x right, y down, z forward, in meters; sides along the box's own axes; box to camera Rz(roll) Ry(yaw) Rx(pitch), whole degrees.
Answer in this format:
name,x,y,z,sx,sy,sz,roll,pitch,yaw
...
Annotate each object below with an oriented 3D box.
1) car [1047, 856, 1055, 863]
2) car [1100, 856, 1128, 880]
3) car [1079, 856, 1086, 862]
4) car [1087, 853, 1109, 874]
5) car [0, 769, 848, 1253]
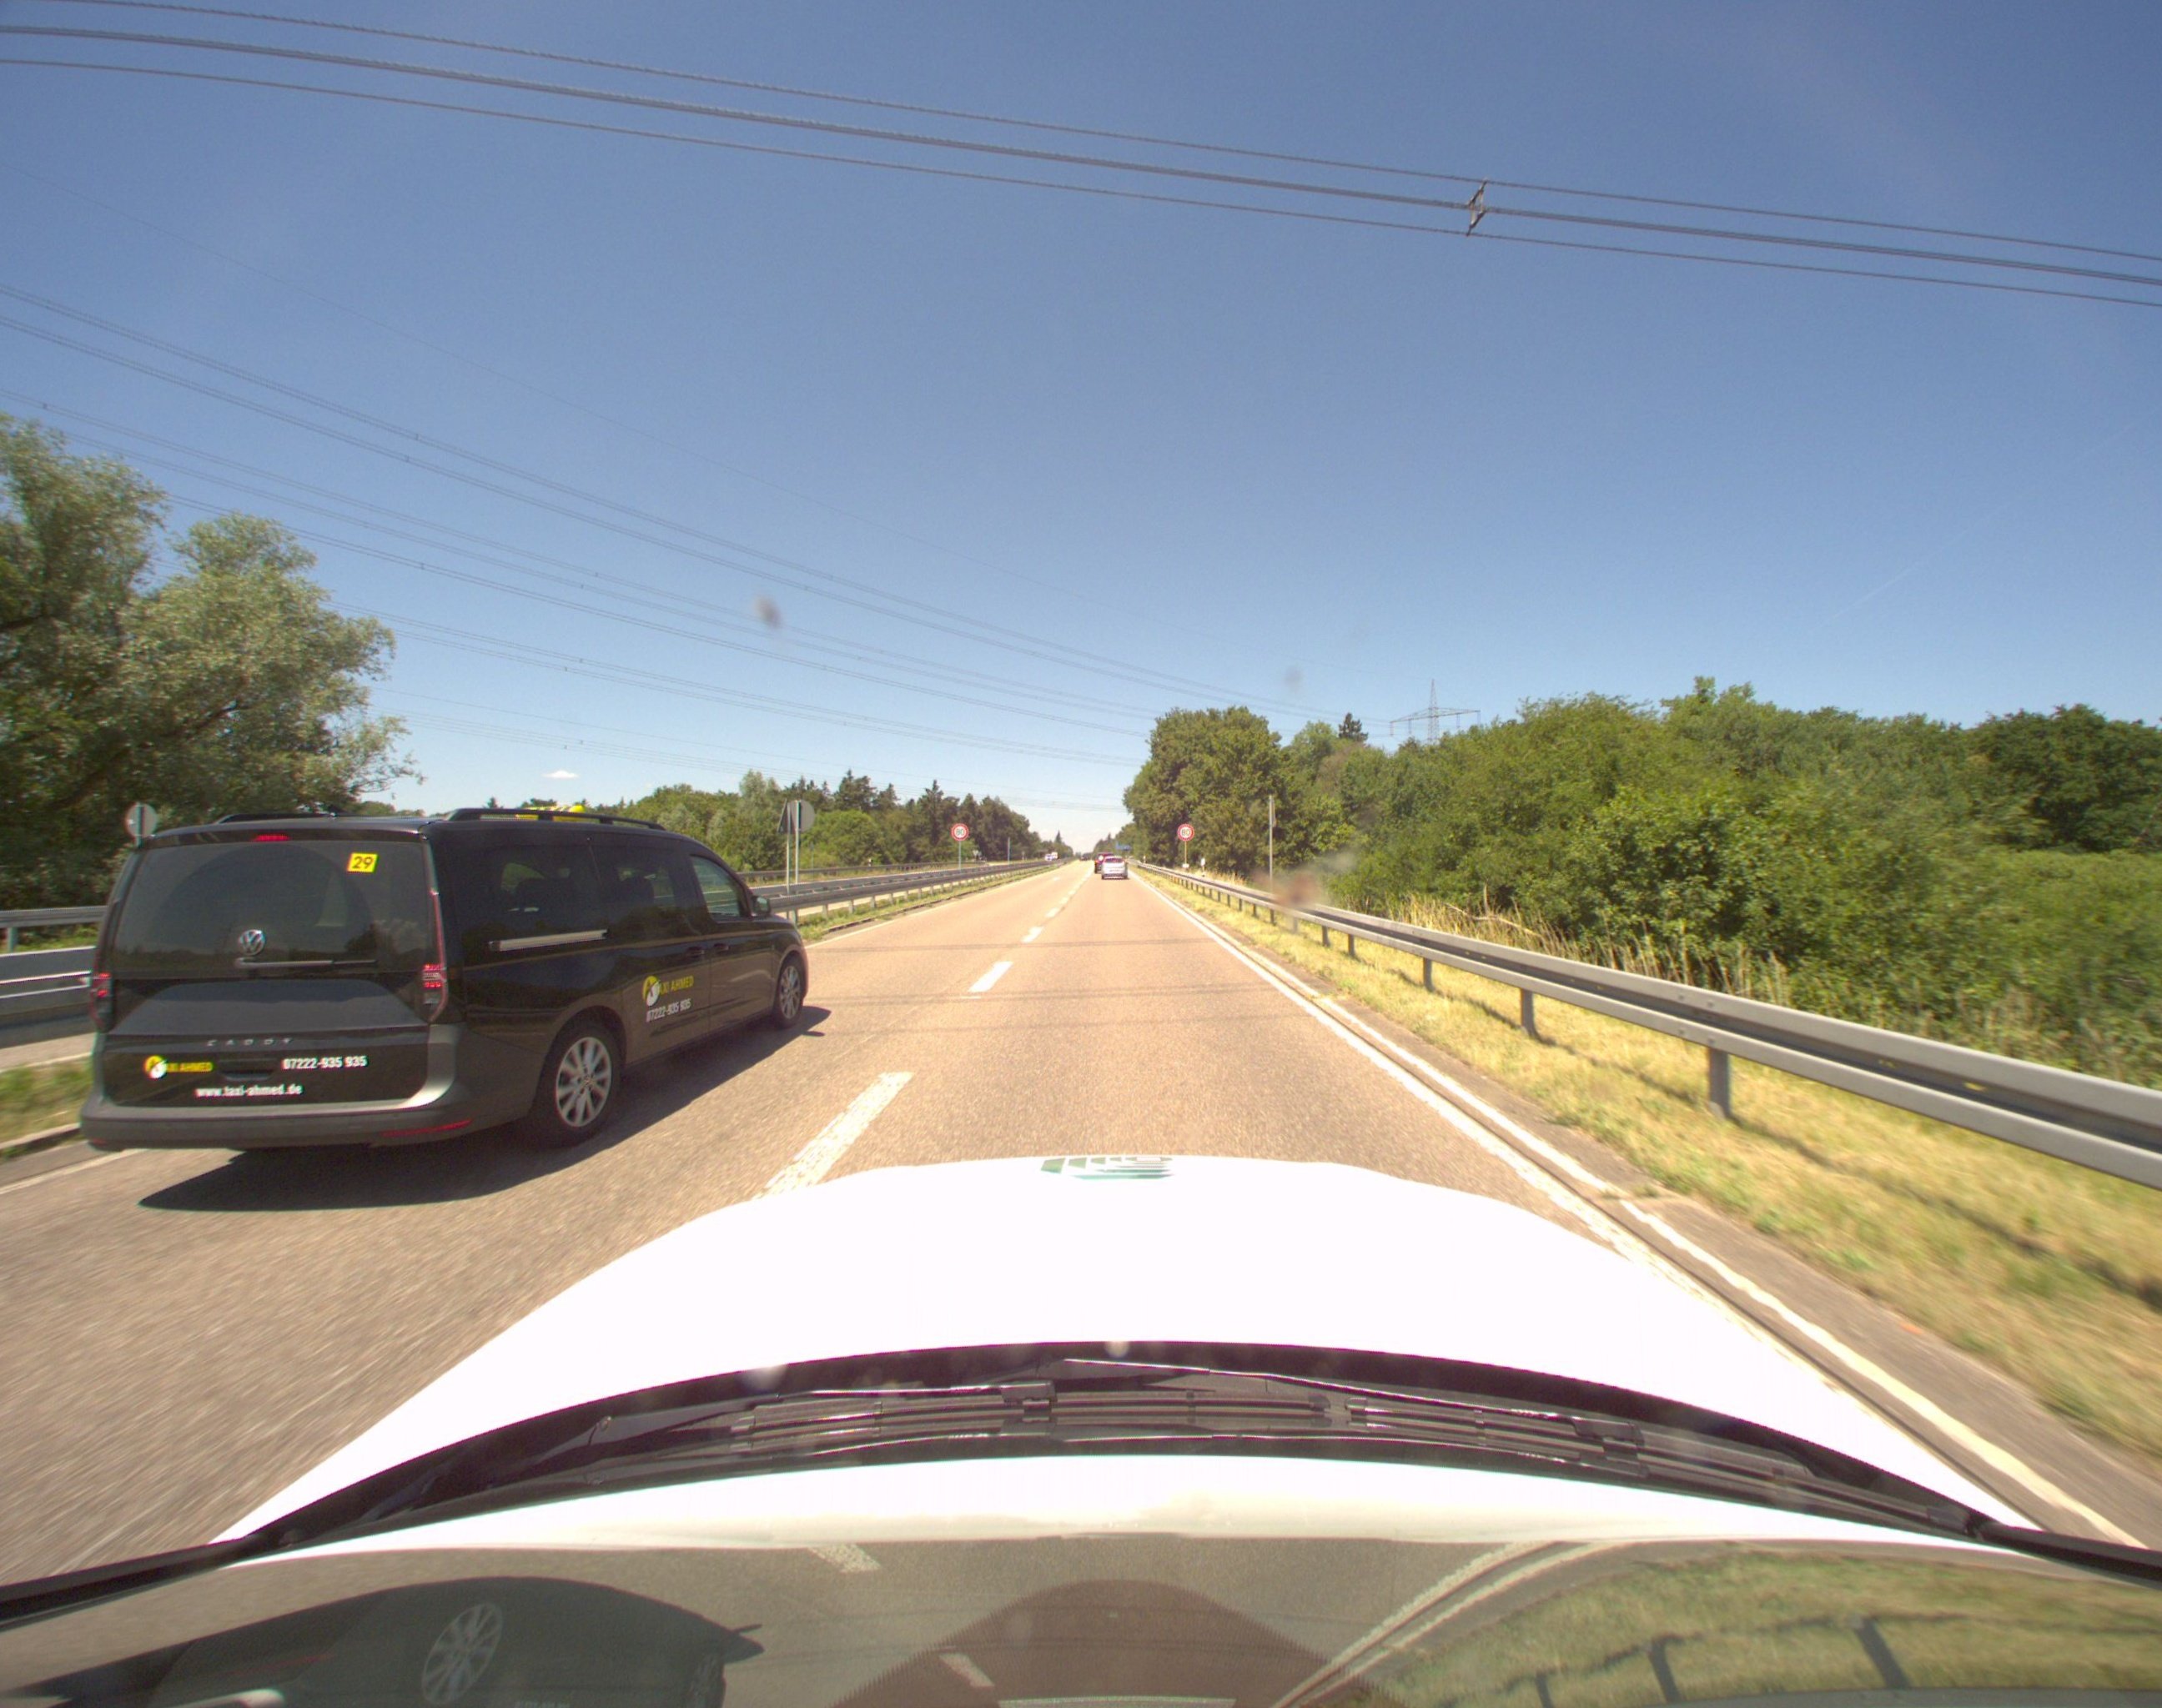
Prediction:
name,x,y,z,sx,sy,sz,roll,pitch,yaw
car,-8.351,1.475,227.806,1.883,1.992,5.537,-2,0,3
car,2.073,0.879,52.376,1.635,1.468,3.418,1,0,0
car,0.347,1.243,206.848,1.706,1.471,3.574,1,0,1
car,1.409,0.781,68.481,1.635,1.654,3.572,1,0,-1
car,-3.526,0.641,6.034,1.847,1.887,5.574,-1,0,1
